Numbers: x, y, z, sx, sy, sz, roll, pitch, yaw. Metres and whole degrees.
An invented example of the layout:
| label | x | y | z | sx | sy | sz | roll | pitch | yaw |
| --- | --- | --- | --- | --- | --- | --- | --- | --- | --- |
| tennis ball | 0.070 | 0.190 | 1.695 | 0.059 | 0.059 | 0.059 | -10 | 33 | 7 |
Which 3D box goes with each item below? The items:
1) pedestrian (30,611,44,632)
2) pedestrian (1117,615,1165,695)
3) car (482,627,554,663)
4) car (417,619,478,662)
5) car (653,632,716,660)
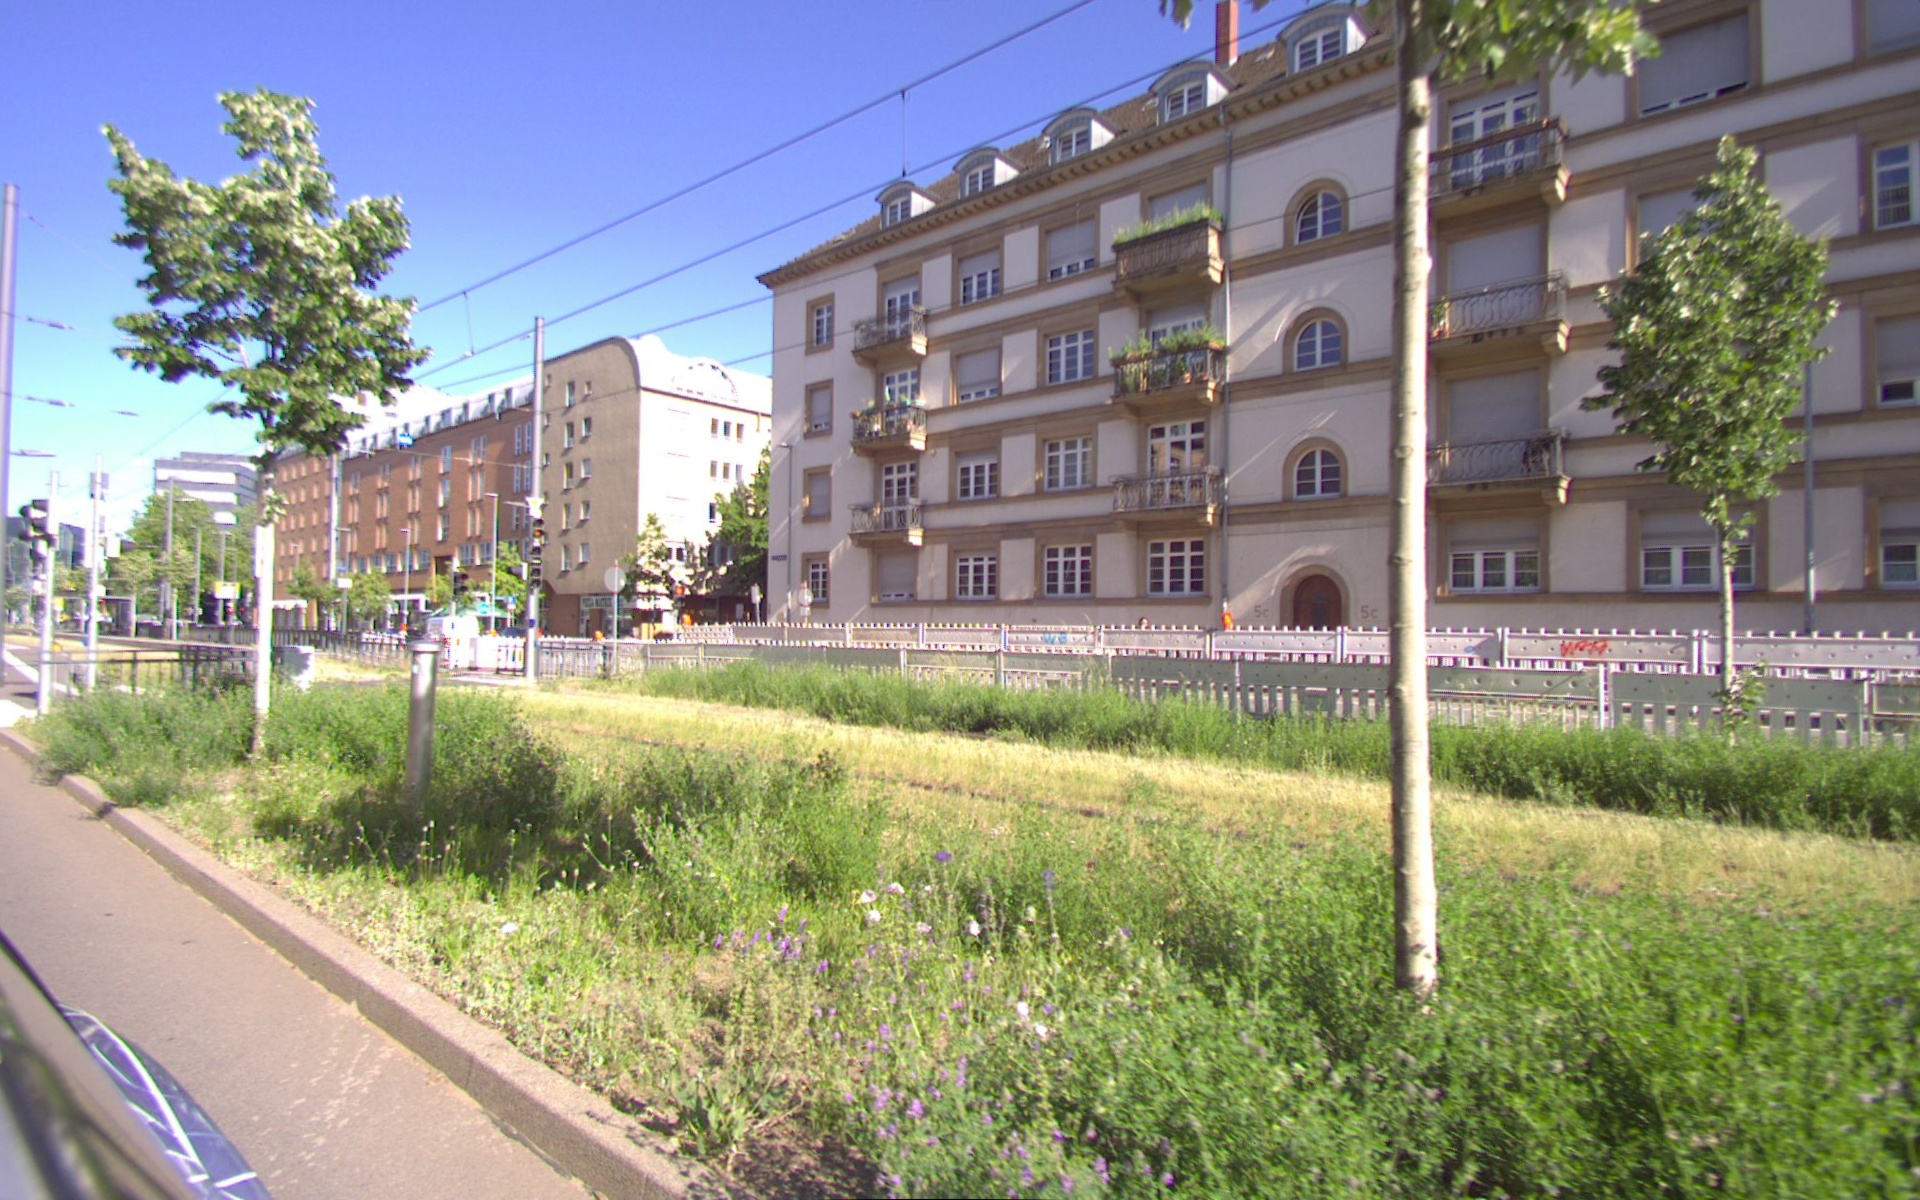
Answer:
| label | x | y | z | sx | sy | sz | roll | pitch | yaw |
| --- | --- | --- | --- | --- | --- | --- | --- | --- | --- |
| pedestrian | -83.293 | 1.946 | 91.326 | 0.810 | 1.903 | 0.769 | 3 | -3 | -45 |
| pedestrian | 4.370 | 1.298 | 24.447 | 0.871 | 1.877 | 0.758 | 0 | -1 | 41 |
| car | -21.977 | 2.203 | 50.262 | 3.996 | 1.652 | 1.677 | 0 | -1 | 40 |
| car | -29.564 | 2.254 | 58.307 | 1.969 | 2.314 | 5.197 | 1 | -1 | -40 |
| car | -15.394 | 2.566 | 56.572 | 3.334 | 1.439 | 1.423 | 0 | -1 | 29 |
